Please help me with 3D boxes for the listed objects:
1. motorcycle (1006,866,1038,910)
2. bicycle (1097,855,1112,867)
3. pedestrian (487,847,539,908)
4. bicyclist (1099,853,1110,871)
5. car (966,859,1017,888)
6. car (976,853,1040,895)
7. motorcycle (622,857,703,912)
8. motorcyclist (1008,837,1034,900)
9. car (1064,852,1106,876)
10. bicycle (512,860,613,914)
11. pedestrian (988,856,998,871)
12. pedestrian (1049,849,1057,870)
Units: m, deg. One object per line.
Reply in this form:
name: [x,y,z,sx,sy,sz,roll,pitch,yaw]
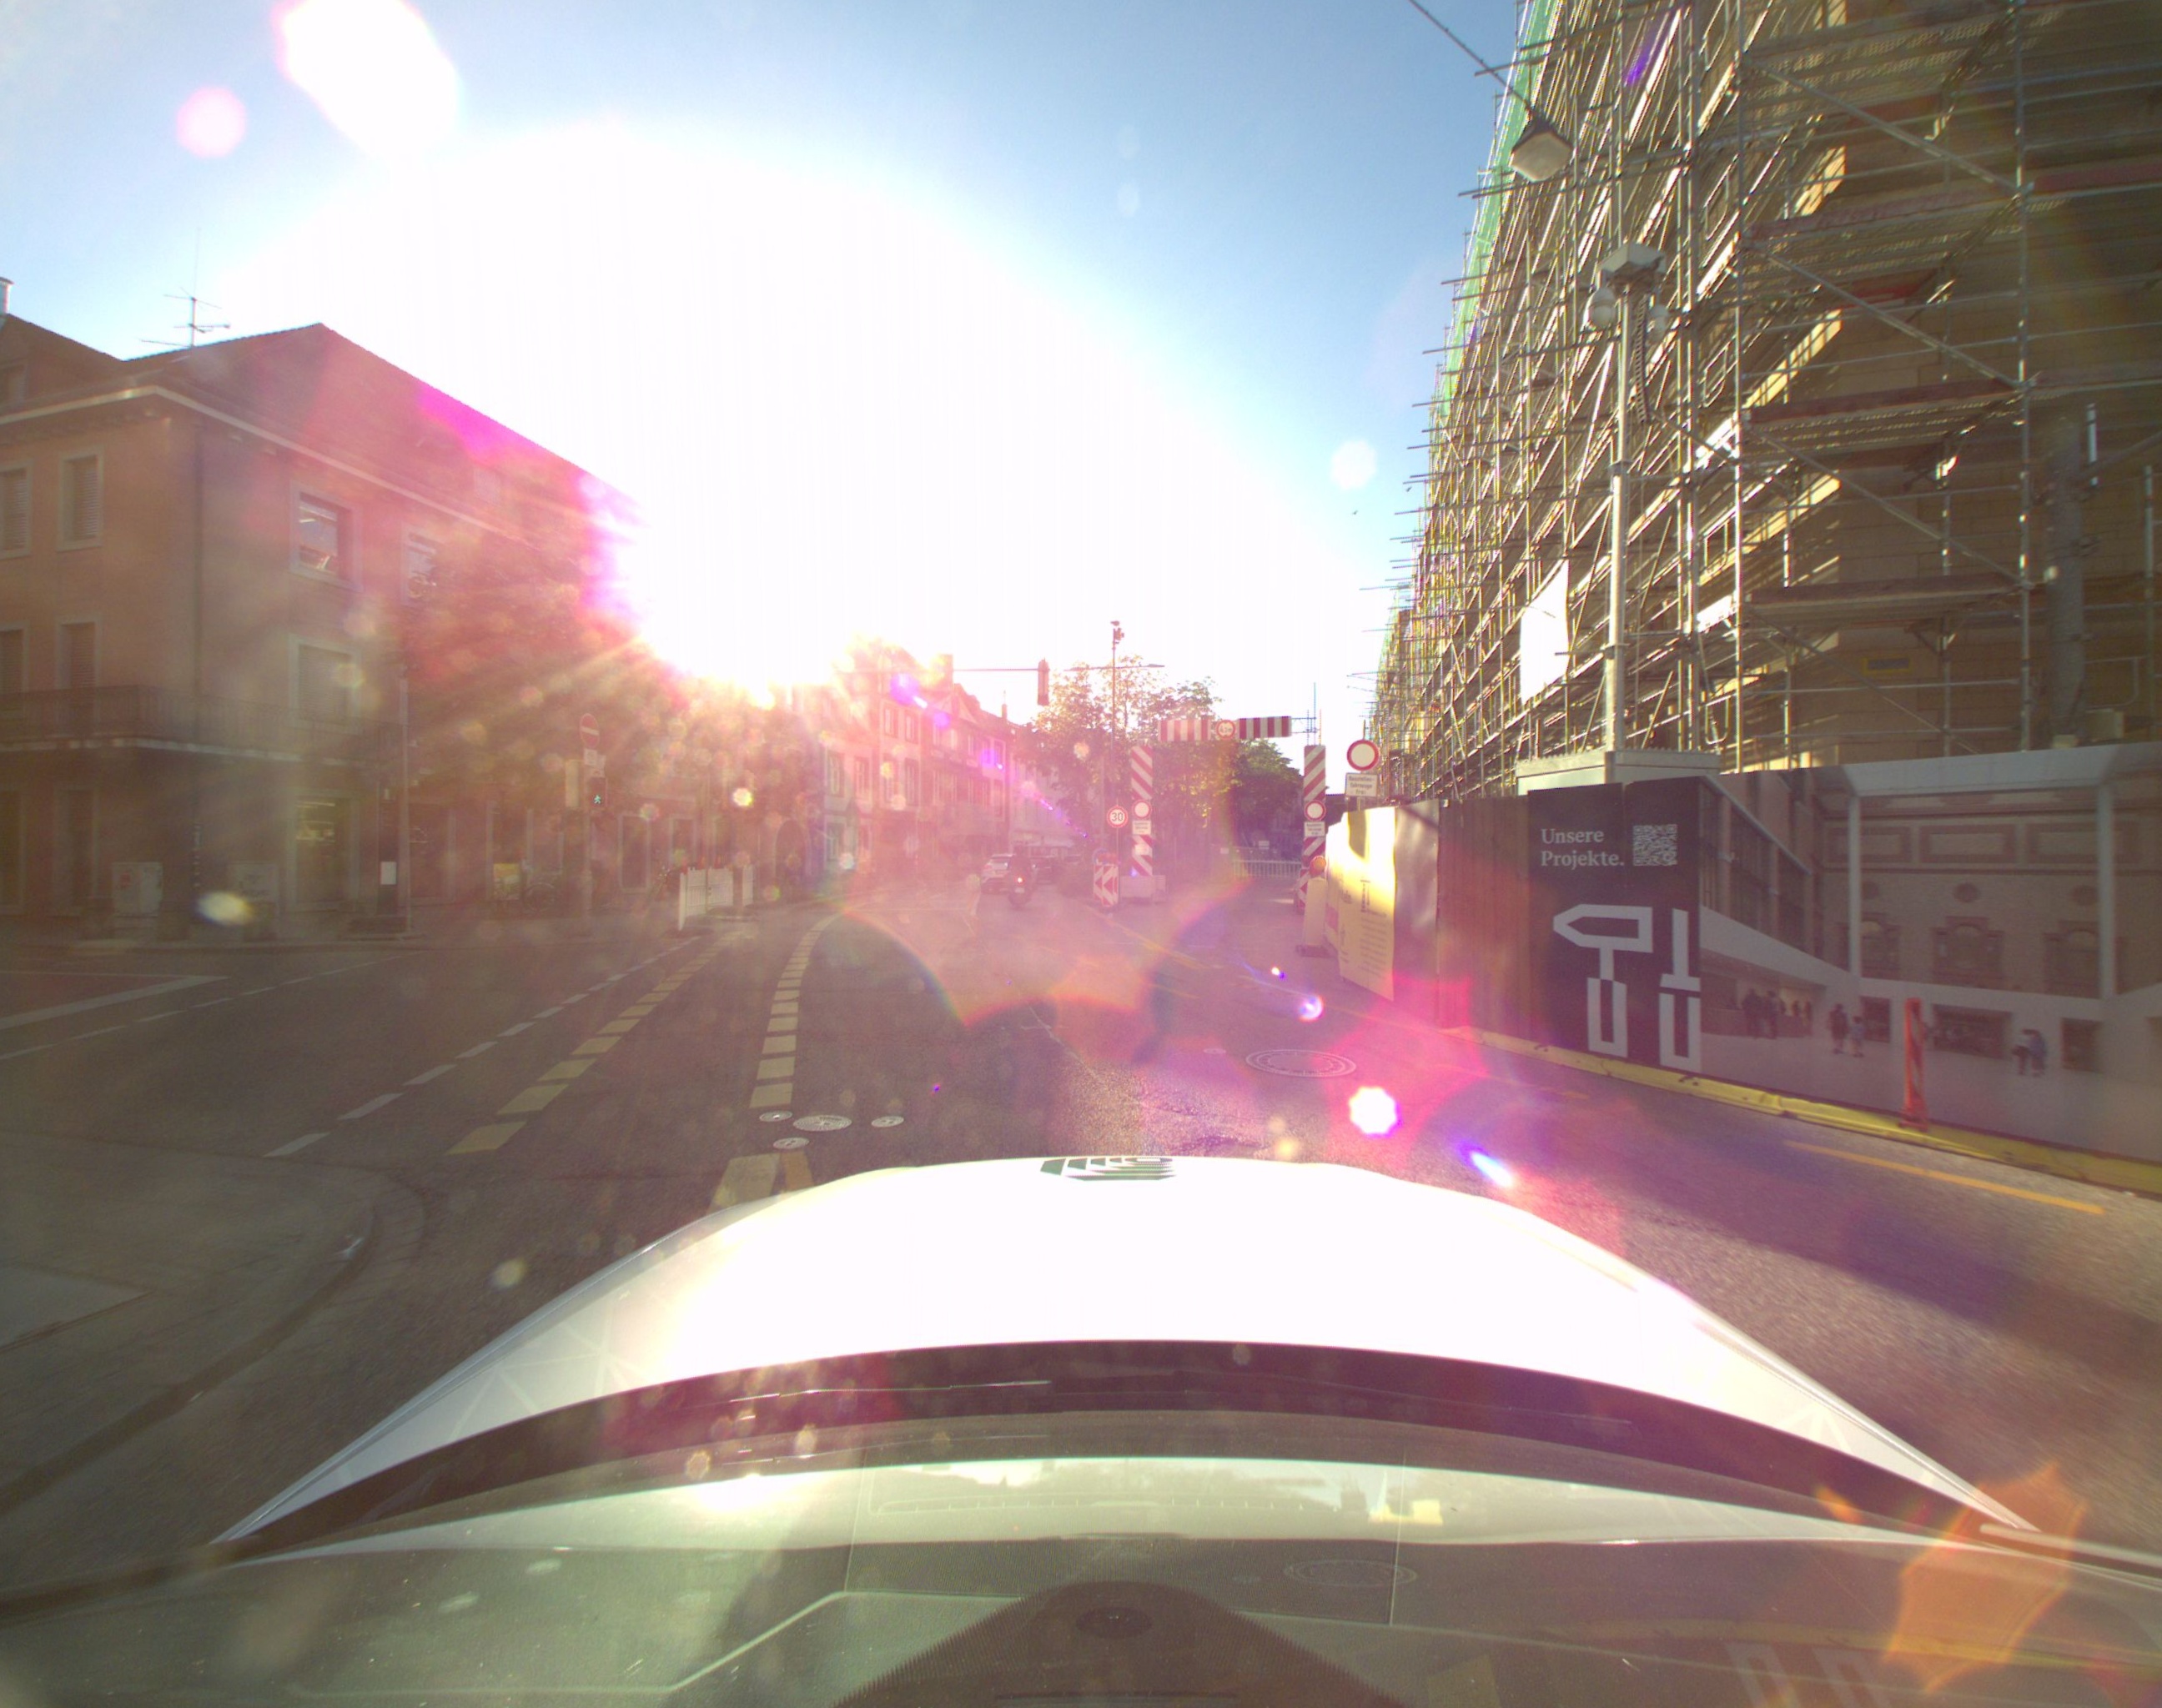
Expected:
motorcycle: [-1.573,0.876,21.552,0.795,1.066,1.722,1,0,-5]
bicycle: [2.050,0.618,71.519,0.765,1.063,2.087,0,0,18]
pedestrian: [-16.387,0.664,23.504,0.785,1.689,0.872,1,-1,15]
bicyclist: [2.047,0.704,71.544,0.738,1.583,0.798,1,-1,18]
car: [-4.828,1.010,44.466,1.830,1.463,4.065,1,0,7]
car: [-2.715,0.711,31.234,1.843,1.480,4.061,1,0,3]
motorcycle: [-10.765,0.748,21.065,0.809,1.317,2.338,0,0,2]
motorcyclist: [-1.611,0.393,21.776,0.656,1.650,0.650,1,-1,-4]
car: [0.308,0.719,59.447,1.825,1.713,4.077,1,0,19]
bicycle: [-12.440,0.769,19.611,2.012,1.206,0.676,-1,-2,-32]
pedestrian: [-6.387,0.667,59.016,0.533,1.053,0.553,1,-1,14]
pedestrian: [-2.357,0.466,69.052,0.433,1.775,0.601,-1,-1,31]
